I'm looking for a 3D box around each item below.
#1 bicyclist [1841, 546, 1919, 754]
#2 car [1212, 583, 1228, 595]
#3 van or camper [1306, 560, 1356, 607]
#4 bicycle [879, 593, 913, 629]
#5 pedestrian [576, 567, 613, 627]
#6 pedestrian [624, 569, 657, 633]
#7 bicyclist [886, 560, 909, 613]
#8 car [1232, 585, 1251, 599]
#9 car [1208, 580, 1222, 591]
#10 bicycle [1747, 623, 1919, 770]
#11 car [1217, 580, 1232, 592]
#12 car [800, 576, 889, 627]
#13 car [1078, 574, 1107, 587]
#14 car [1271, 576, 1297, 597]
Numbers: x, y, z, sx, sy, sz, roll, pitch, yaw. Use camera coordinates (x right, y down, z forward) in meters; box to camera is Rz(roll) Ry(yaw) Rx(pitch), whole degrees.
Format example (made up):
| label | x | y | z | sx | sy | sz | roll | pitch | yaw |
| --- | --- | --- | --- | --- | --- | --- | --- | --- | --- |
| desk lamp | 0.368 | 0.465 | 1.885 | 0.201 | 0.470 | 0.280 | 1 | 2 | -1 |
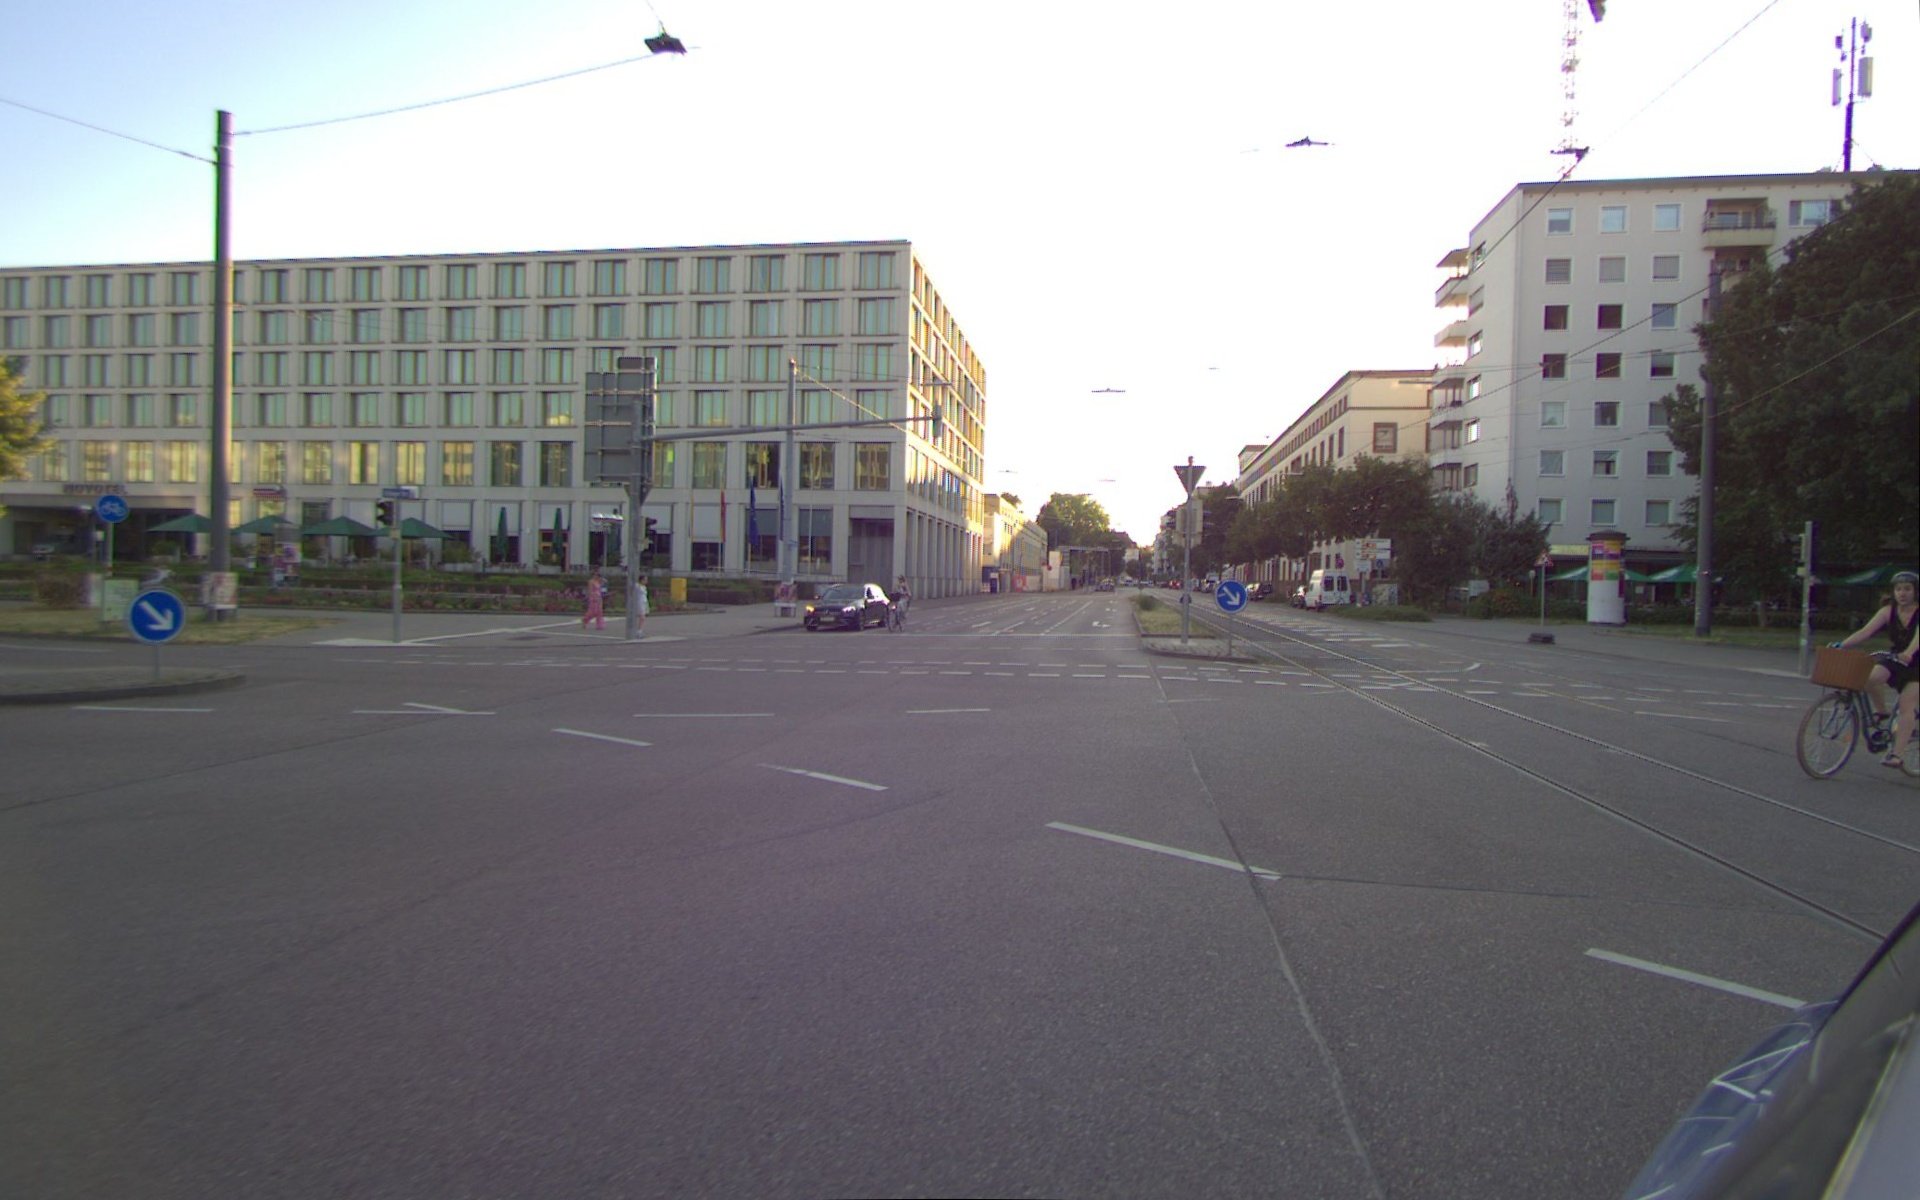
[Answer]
| label | x | y | z | sx | sy | sz | roll | pitch | yaw |
| --- | --- | --- | --- | --- | --- | --- | --- | --- | --- |
| bicyclist | 7.875 | 0.394 | 8.376 | 0.585 | 1.656 | 0.611 | 1 | 1 | -2 |
| car | 32.389 | -1.345 | 126.022 | 1.697 | 1.448 | 3.796 | 1 | 1 | 12 |
| van or camper | 22.541 | -1.013 | 61.632 | 2.079 | 2.715 | 4.696 | 1 | 1 | 11 |
| bicycle | -1.982 | 0.316 | 31.570 | 0.532 | 1.065 | 1.753 | 1 | 1 | 15 |
| pedestrian | -10.247 | -0.102 | 28.386 | 0.736 | 1.646 | 0.715 | 1 | 1 | 42 |
| pedestrian | -8.466 | 0.022 | 26.820 | 0.621 | 1.646 | 0.532 | 1 | 1 | 27 |
| bicyclist | -1.951 | -0.424 | 31.623 | 0.534 | 1.656 | 0.594 | 1 | 1 | 16 |
| car | 29.751 | -0.889 | 106.894 | 1.697 | 1.448 | 3.796 | 1 | 1 | 12 |
| car | 35.251 | -2.011 | 139.947 | 1.698 | 1.505 | 3.795 | 1 | 1 | 13 |
| bicycle | 7.761 | 0.784 | 8.370 | 2.045 | 1.128 | 0.610 | 1 | 1 | -2 |
| car | 32.831 | -1.750 | 125.727 | 1.698 | 1.505 | 3.795 | 1 | 1 | 13 |
| car | -3.696 | 0.014 | 33.303 | 1.786 | 1.542 | 4.800 | -1 | 1 | 8 |
| car | 17.686 | -2.650 | 134.848 | 3.747 | 1.669 | 1.859 | 1 | 1 | 10 |
| car | 27.421 | -1.190 | 85.739 | 1.698 | 1.726 | 3.794 | 1 | 1 | 13 |
